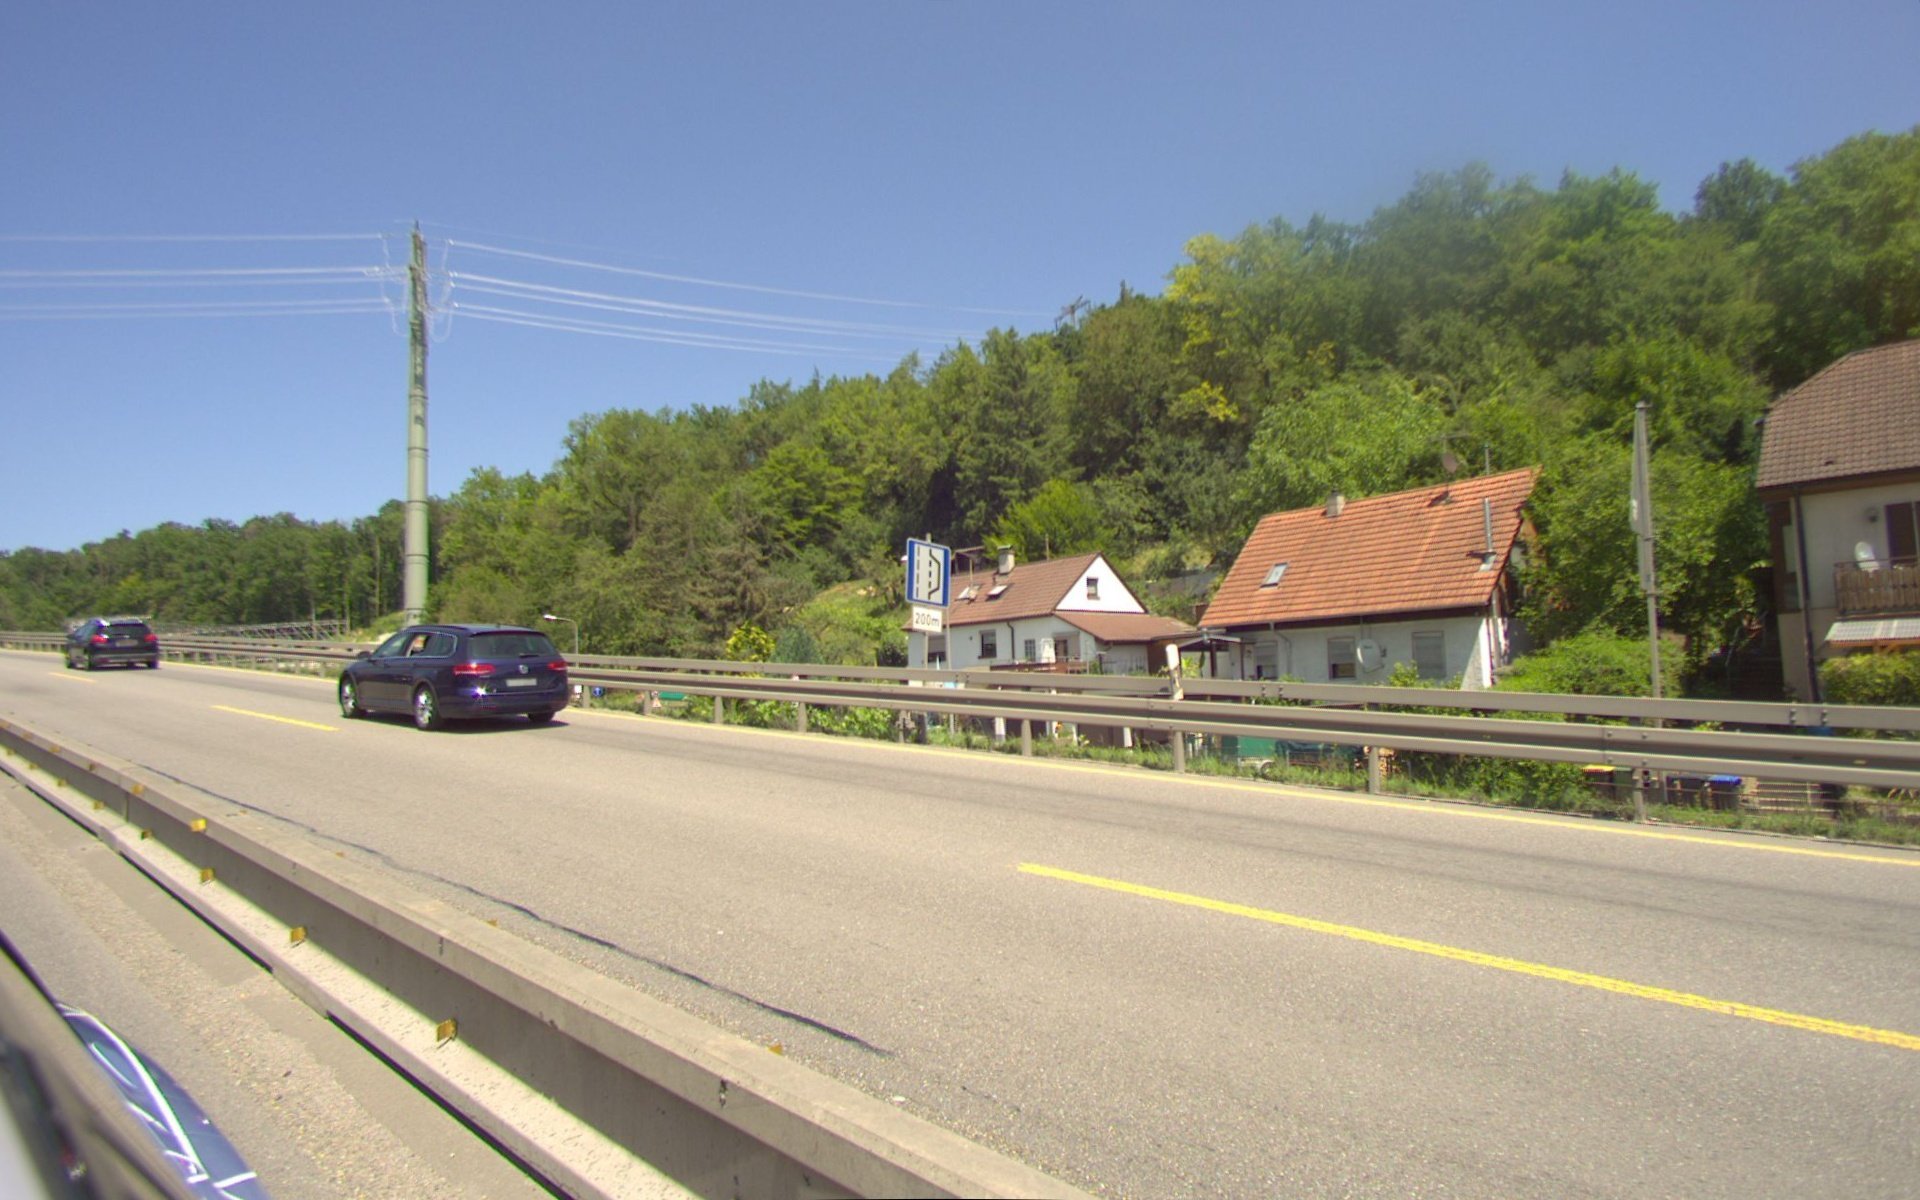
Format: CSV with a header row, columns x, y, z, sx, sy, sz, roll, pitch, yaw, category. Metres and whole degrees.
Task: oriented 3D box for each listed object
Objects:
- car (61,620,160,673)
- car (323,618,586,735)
x,y,z,sx,sy,sz,roll,pitch,yaw,category
-25.730,1.426,30.610,3.998,1.501,1.714,-4,-3,41,car
-7.532,1.003,14.862,4.685,1.429,1.822,-1,-2,41,car
